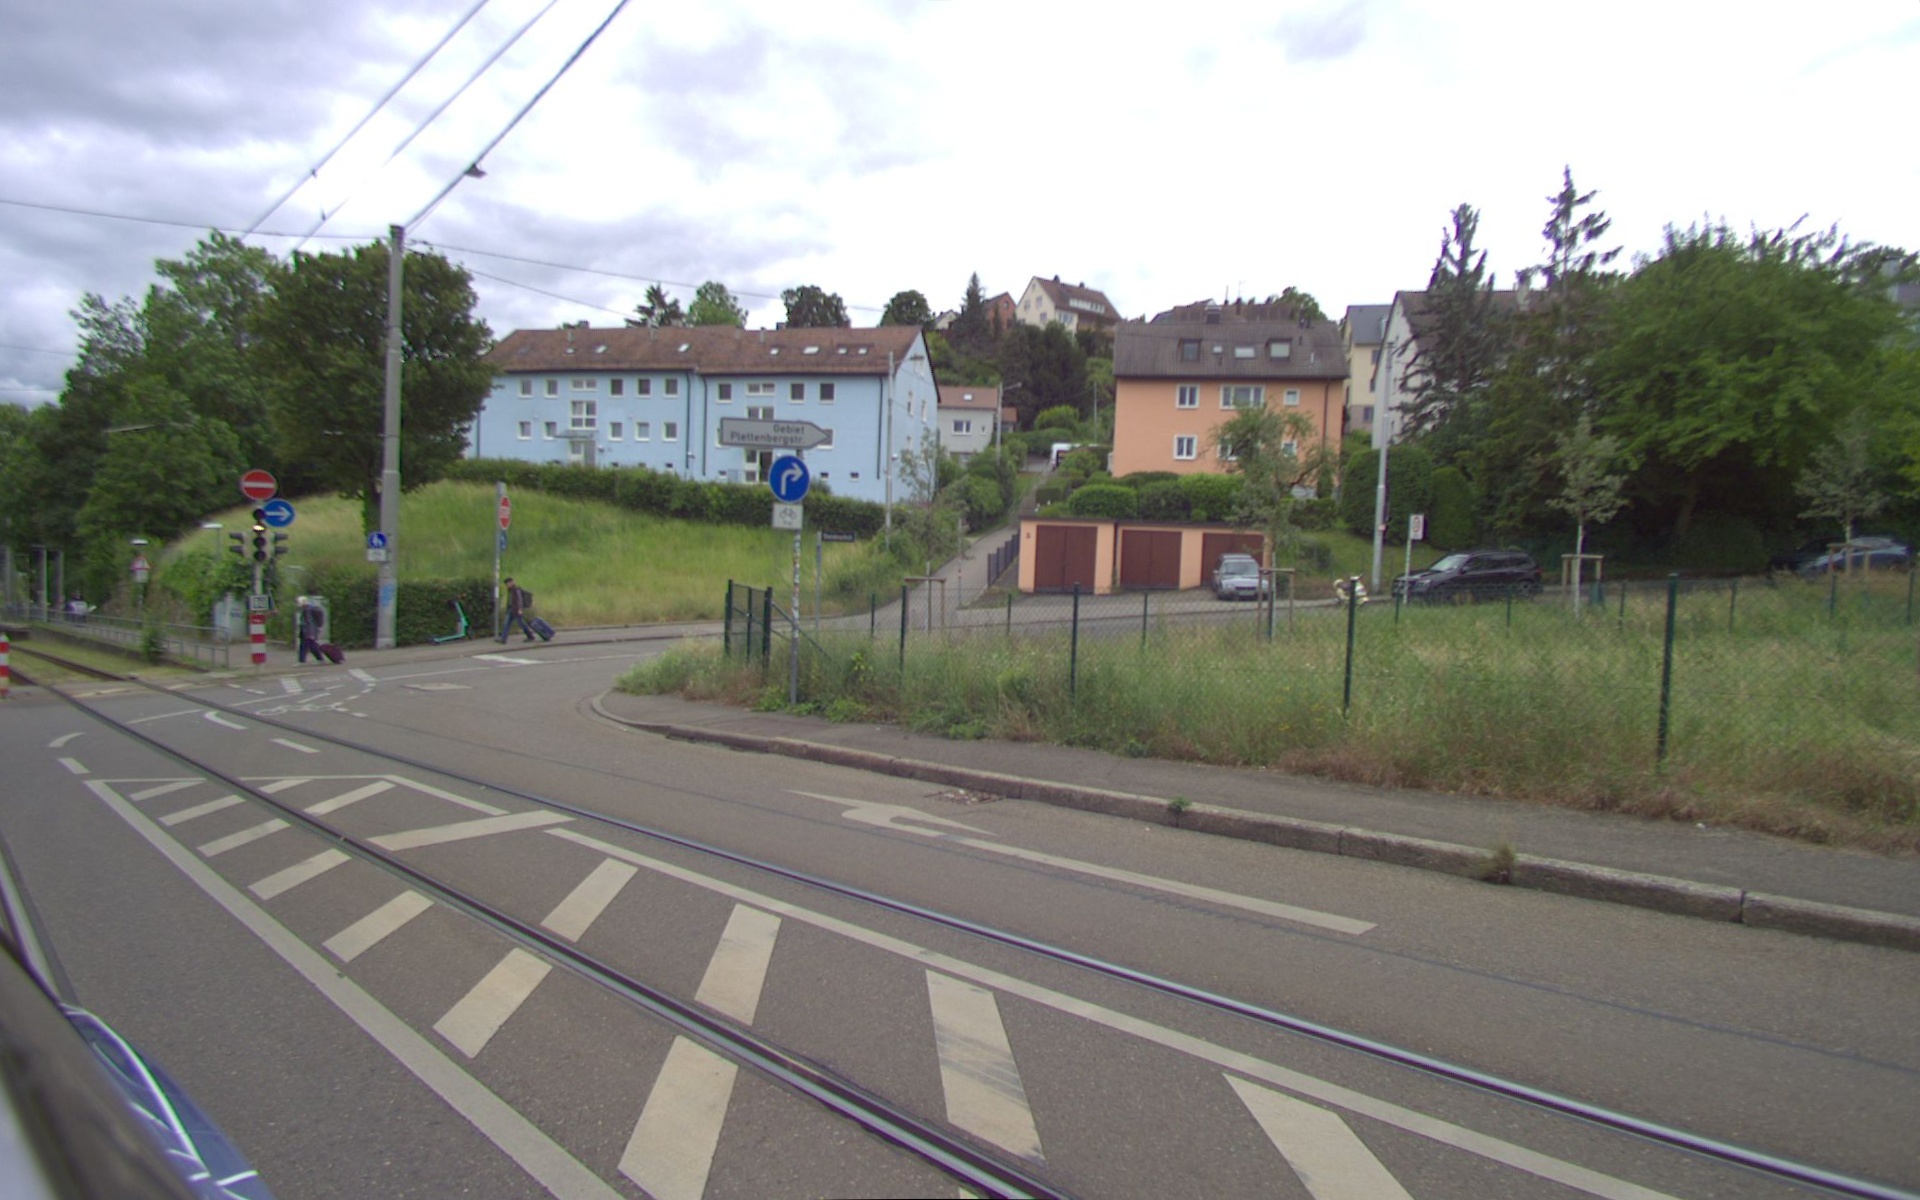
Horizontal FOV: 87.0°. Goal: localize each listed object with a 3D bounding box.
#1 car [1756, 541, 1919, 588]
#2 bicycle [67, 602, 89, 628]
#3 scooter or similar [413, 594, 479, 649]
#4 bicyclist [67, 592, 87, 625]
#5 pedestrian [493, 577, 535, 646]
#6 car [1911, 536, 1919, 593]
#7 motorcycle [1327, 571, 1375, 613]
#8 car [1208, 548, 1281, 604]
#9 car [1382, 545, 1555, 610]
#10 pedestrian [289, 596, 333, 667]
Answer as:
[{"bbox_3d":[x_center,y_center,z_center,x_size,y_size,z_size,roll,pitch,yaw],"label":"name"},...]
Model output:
[{"bbox_3d":[29.380,-1.185,33.876,4.067,1.523,1.986,0,1,-7],"label":"car"},{"bbox_3d":[-44.512,0.769,51.060,0.741,1.249,2.869,-2,0,-43],"label":"bicycle"},{"bbox_3d":[-13.406,0.551,26.436,0.418,1.298,1.393,0,5,43],"label":"scooter or similar"},{"bbox_3d":[-44.825,0.420,51.363,0.696,1.641,1.033,-2,0,-44],"label":"bicyclist"},{"bbox_3d":[-11.604,0.289,26.337,0.887,1.763,0.744,-1,1,-34],"label":"pedestrian"},{"bbox_3d":[35.918,-1.257,35.206,4.066,2.029,1.986,0,1,-8],"label":"car"},{"bbox_3d":[12.095,-0.264,31.369,0.513,1.165,1.710,0,5,-11],"label":"motorcycle"},{"bbox_3d":[10.020,-0.913,35.983,1.978,1.624,4.868,0,6,10],"label":"car"},{"bbox_3d":[15.749,-0.714,31.450,4.380,1.702,1.981,-4,1,-9],"label":"car"},{"bbox_3d":[-14.789,0.701,23.058,0.741,1.586,0.758,-1,1,-40],"label":"pedestrian"}]
